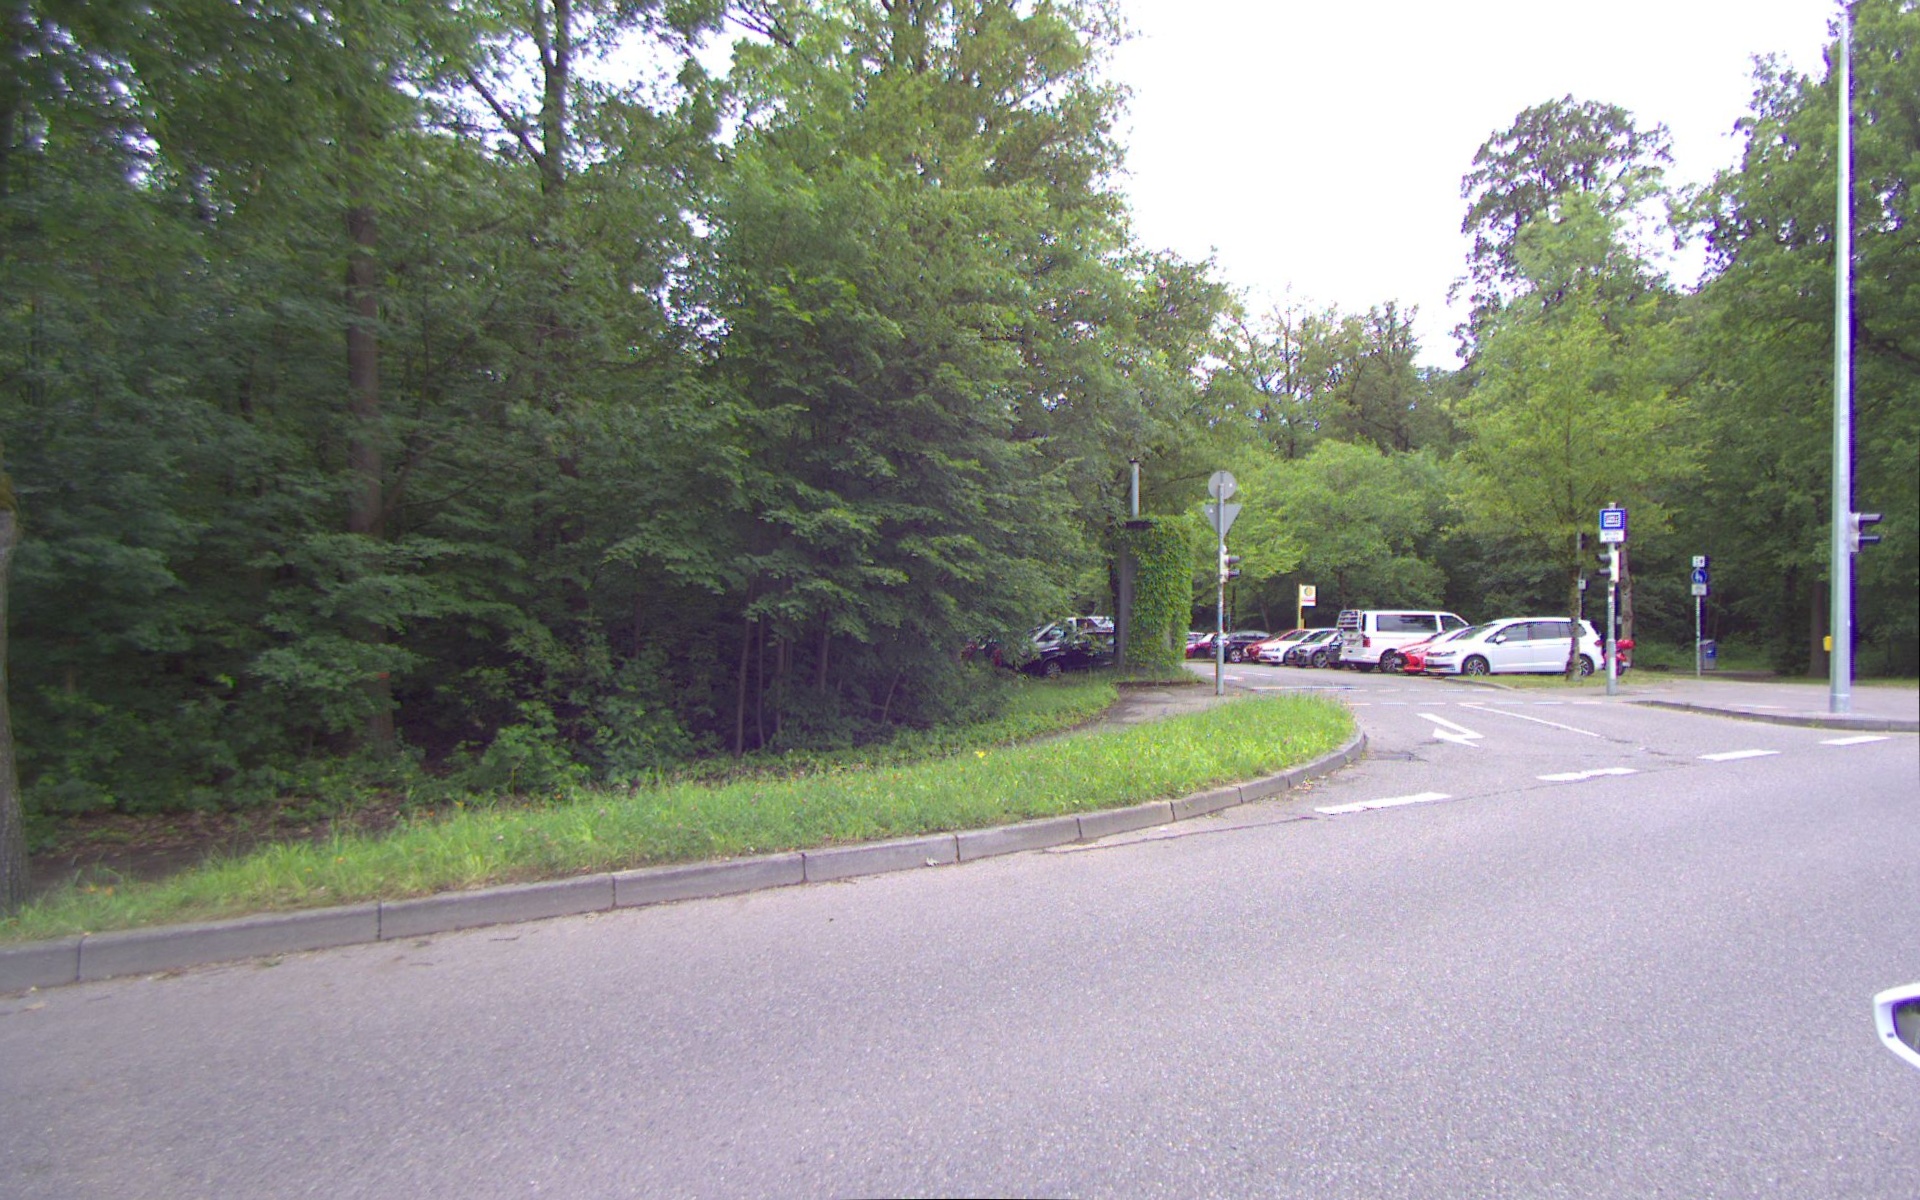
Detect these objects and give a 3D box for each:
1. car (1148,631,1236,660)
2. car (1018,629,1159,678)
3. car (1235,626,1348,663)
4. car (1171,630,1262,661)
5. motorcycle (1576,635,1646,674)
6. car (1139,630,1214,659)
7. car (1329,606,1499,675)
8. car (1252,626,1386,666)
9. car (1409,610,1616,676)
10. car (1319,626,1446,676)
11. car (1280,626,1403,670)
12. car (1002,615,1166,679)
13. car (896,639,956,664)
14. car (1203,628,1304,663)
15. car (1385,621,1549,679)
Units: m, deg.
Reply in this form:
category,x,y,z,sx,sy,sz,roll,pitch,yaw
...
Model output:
category,x,y,z,sx,sy,sz,roll,pitch,yaw
car,12.185,2.390,52.837,4.065,1.480,1.862,0,-3,-10
car,3.761,1.561,29.836,3.923,1.397,1.722,0,-2,-4
car,14.072,1.896,42.732,4.164,1.500,1.917,0,-3,-8
car,12.812,2.278,50.243,3.930,1.468,1.937,0,-2,-12
motorcycle,20.555,1.701,31.758,0.665,1.176,2.008,1,-1,-10
car,11.879,2.456,55.199,3.648,1.530,1.748,0,-3,-12
car,14.768,1.292,32.826,4.575,2.048,2.082,2,-1,-4
car,14.263,1.815,40.039,4.696,1.495,1.852,0,-2,-5
car,15.023,1.189,27.507,4.444,1.715,2.166,0,-3,1
car,14.840,1.775,35.403,3.664,1.575,1.844,2,0,-6
car,14.267,1.800,37.665,3.925,1.502,1.876,2,-3,-6
car,3.977,1.514,32.691,5.004,1.940,1.978,-1,-2,-3
car,-2.370,3.517,69.070,3.900,1.649,1.996,-1,-2,-8
car,13.177,2.024,45.194,3.926,1.502,1.920,0,-2,-8
car,15.053,1.470,29.986,3.930,1.576,1.947,1,-1,2
